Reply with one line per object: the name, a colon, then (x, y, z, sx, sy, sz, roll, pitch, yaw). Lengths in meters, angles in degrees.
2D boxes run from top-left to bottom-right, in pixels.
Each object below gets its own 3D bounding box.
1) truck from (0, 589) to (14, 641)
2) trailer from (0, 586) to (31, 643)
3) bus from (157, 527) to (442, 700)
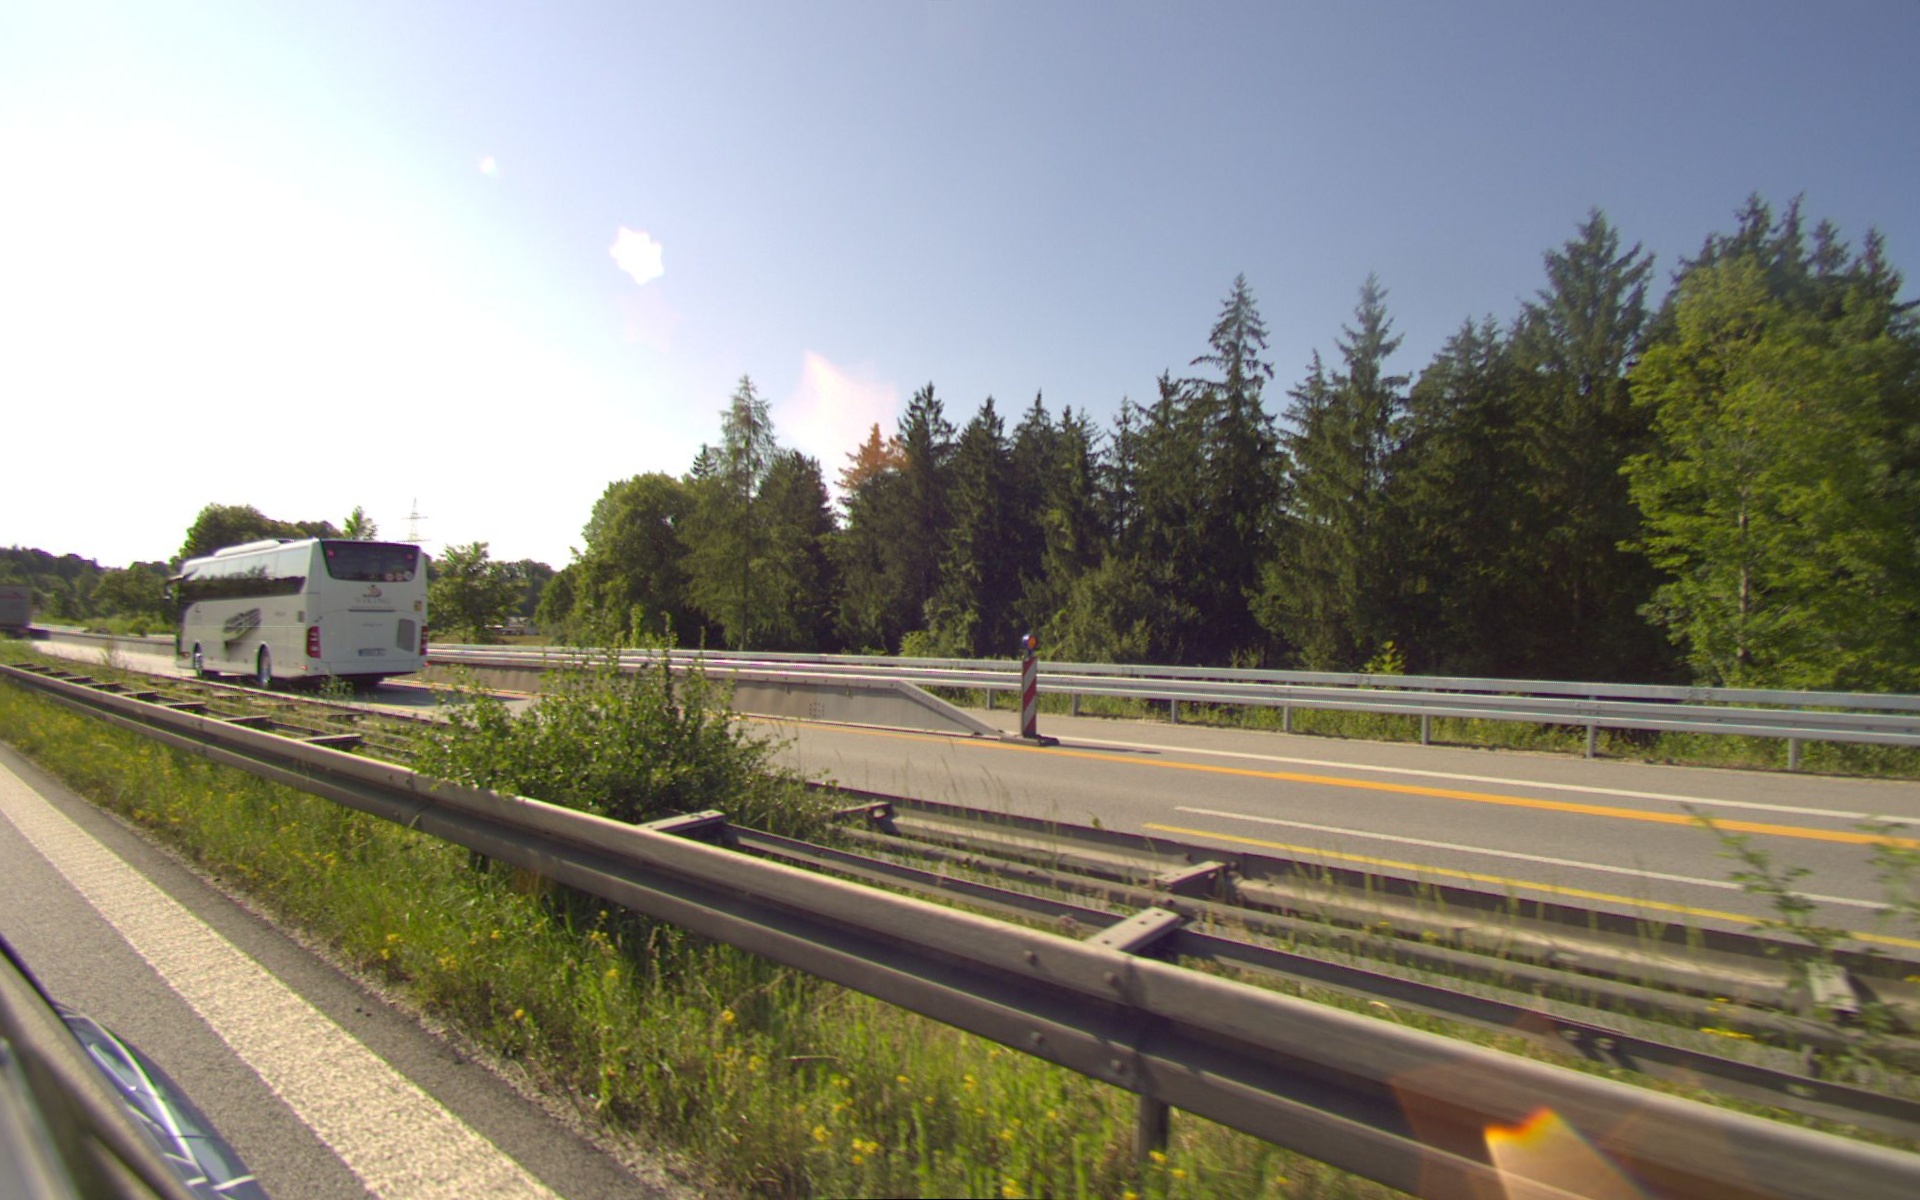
truck: (-78.966, 1.168, 81.999, 5.473, 4.119, 2.741, -1, -4, 42)
trailer: (-74.307, 1.126, 77.818, 13.991, 4.101, 2.712, -1, -4, 42)
bus: (-18.037, 0.400, 26.967, 12.909, 3.699, 2.852, -1, -2, 41)
